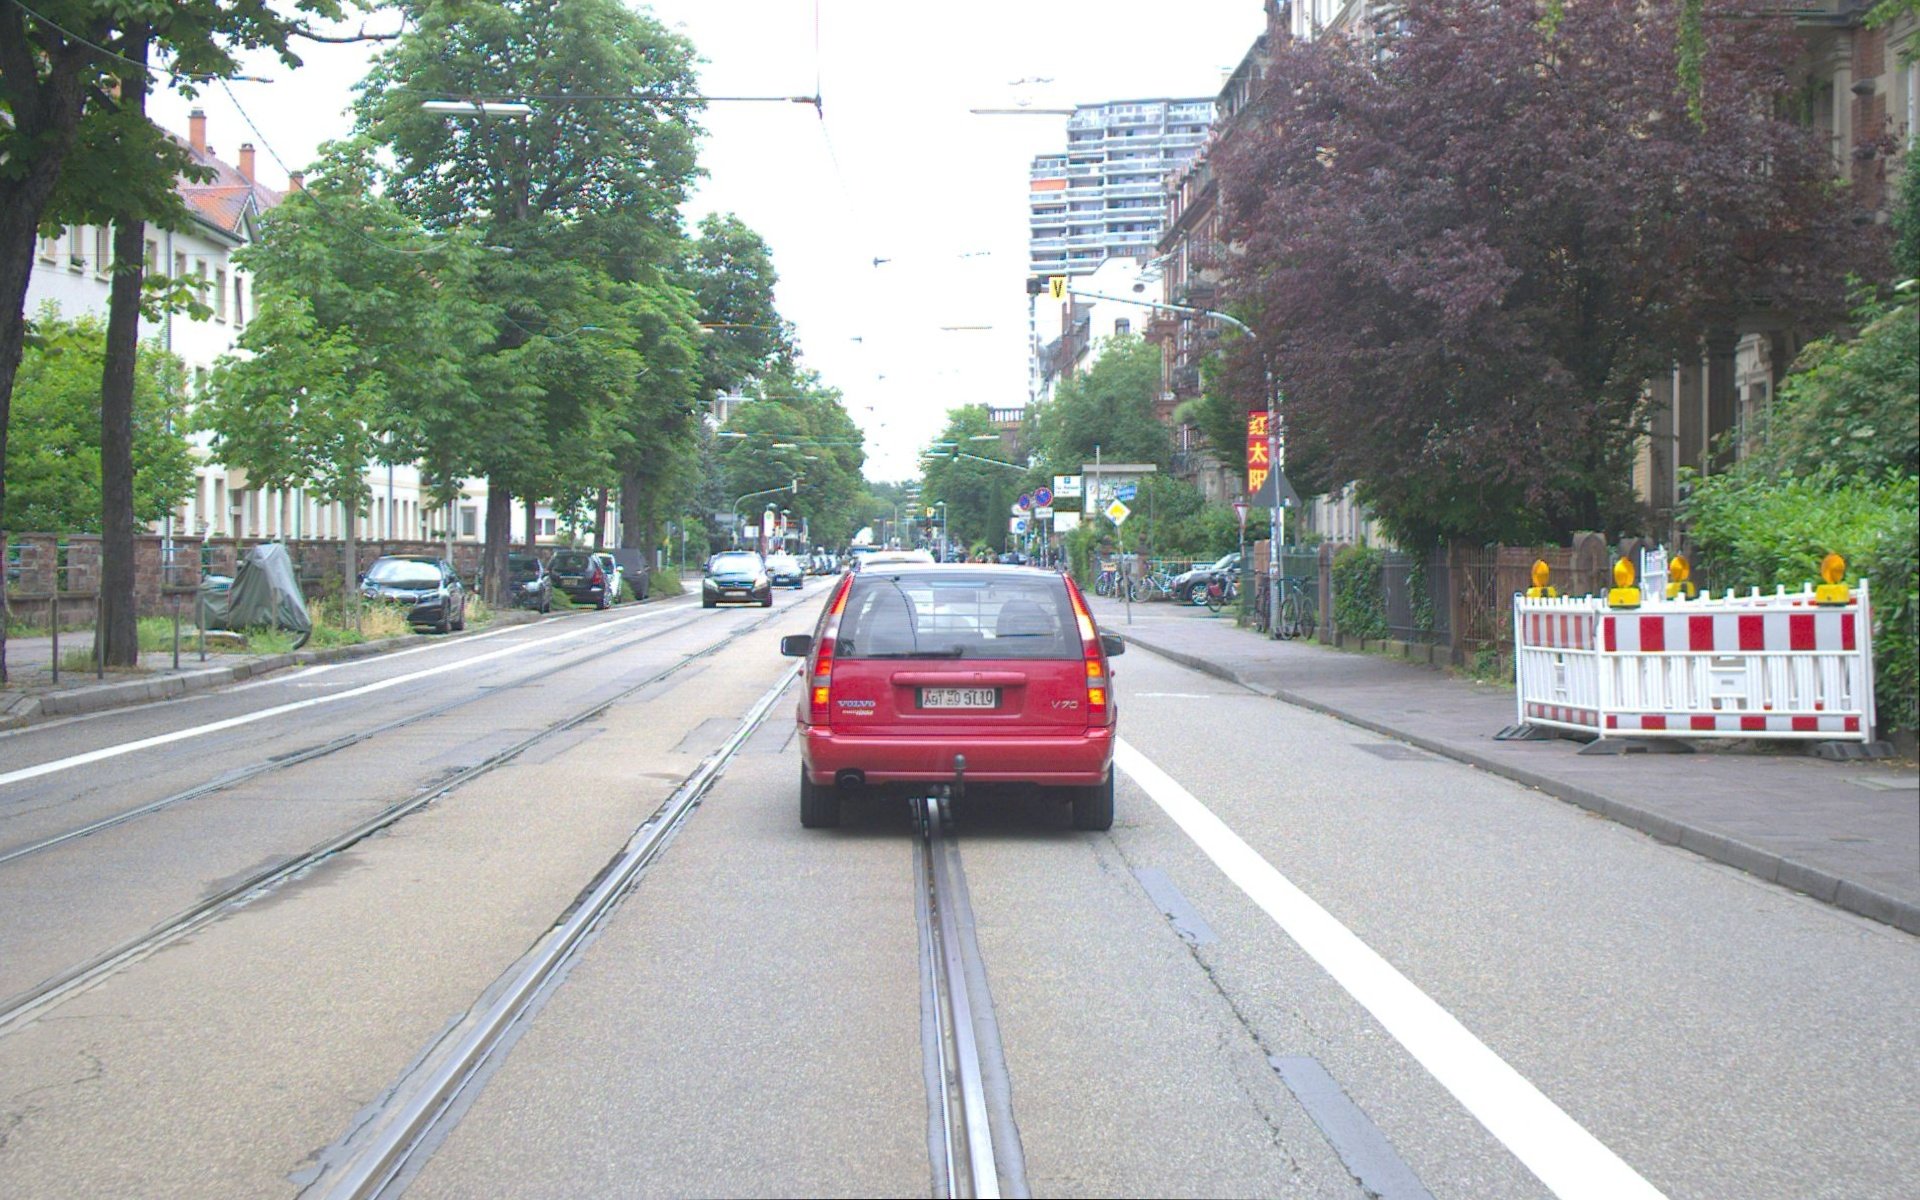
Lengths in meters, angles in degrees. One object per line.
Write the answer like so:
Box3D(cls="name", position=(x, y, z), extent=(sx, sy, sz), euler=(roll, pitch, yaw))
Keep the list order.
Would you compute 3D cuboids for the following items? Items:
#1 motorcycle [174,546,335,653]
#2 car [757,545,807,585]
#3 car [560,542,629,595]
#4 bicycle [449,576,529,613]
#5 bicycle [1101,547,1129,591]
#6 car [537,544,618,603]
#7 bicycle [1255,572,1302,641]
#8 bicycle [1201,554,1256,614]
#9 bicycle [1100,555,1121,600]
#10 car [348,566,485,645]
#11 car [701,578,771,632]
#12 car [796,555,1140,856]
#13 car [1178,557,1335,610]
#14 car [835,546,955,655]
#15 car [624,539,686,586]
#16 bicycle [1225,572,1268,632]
Box3D(cls="motorcycle", position=(-10.229, -0.009, 49.812), extent=(2.269, 1.506, 0.925), euler=(1, -1, 34))
Box3D(cls="car", position=(-7.384, -1.460, 142.963), extent=(1.894, 1.605, 4.500), euler=(1, 1, -1))
Box3D(cls="car", position=(-11.233, -0.989, 105.955), extent=(1.713, 1.575, 4.000), euler=(2, 1, -1))
Box3D(cls="bicycle", position=(-10.973, -0.125, 80.114), extent=(1.748, 0.841, 0.684), euler=(1, 1, 0))
Box3D(cls="bicycle", position=(4.619, -0.941, 102.349), extent=(0.708, 1.296, 1.904), euler=(0, 1, -1))
Box3D(cls="car", position=(-10.458, -0.744, 94.227), extent=(1.851, 1.558, 3.943), euler=(1, 1, -1))
Box3D(cls="bicycle", position=(5.190, 0.098, 56.109), extent=(0.523, 1.096, 2.176), euler=(0, 1, -1))
Box3D(cls="bicycle", position=(6.773, -0.412, 86.682), extent=(0.918, 1.502, 2.379), euler=(1, 1, 16))
Box3D(cls="bicycle", position=(4.639, -0.703, 106.214), extent=(0.551, 1.395, 1.734), euler=(0, 1, -1))
Box3D(cls="car", position=(-10.232, 0.074, 65.009), extent=(1.890, 1.393, 4.417), euler=(1, 1, 0))
Box3D(cls="car", position=(-6.007, 0.114, 92.466), extent=(1.755, 1.375, 4.027), euler=(0, 1, -2))
Box3D(cls="car", position=(0.004, 0.507, 19.118), extent=(1.689, 1.436, 3.743), euler=(1, 1, -1))
Box3D(cls="car", position=(7.856, -0.450, 90.872), extent=(3.988, 1.357, 1.891), euler=(0, 1, 9))
Box3D(cls="car", position=(-0.979, -0.018, 53.720), extent=(1.719, 1.619, 3.941), euler=(1, 1, 1))
Box3D(cls="car", position=(-9.933, -1.240, 112.210), extent=(1.720, 1.481, 4.000), euler=(0, 1, -1))
Box3D(cls="bicycle", position=(5.063, 0.019, 60.795), extent=(0.523, 1.027, 2.176), euler=(0, 1, -1))
